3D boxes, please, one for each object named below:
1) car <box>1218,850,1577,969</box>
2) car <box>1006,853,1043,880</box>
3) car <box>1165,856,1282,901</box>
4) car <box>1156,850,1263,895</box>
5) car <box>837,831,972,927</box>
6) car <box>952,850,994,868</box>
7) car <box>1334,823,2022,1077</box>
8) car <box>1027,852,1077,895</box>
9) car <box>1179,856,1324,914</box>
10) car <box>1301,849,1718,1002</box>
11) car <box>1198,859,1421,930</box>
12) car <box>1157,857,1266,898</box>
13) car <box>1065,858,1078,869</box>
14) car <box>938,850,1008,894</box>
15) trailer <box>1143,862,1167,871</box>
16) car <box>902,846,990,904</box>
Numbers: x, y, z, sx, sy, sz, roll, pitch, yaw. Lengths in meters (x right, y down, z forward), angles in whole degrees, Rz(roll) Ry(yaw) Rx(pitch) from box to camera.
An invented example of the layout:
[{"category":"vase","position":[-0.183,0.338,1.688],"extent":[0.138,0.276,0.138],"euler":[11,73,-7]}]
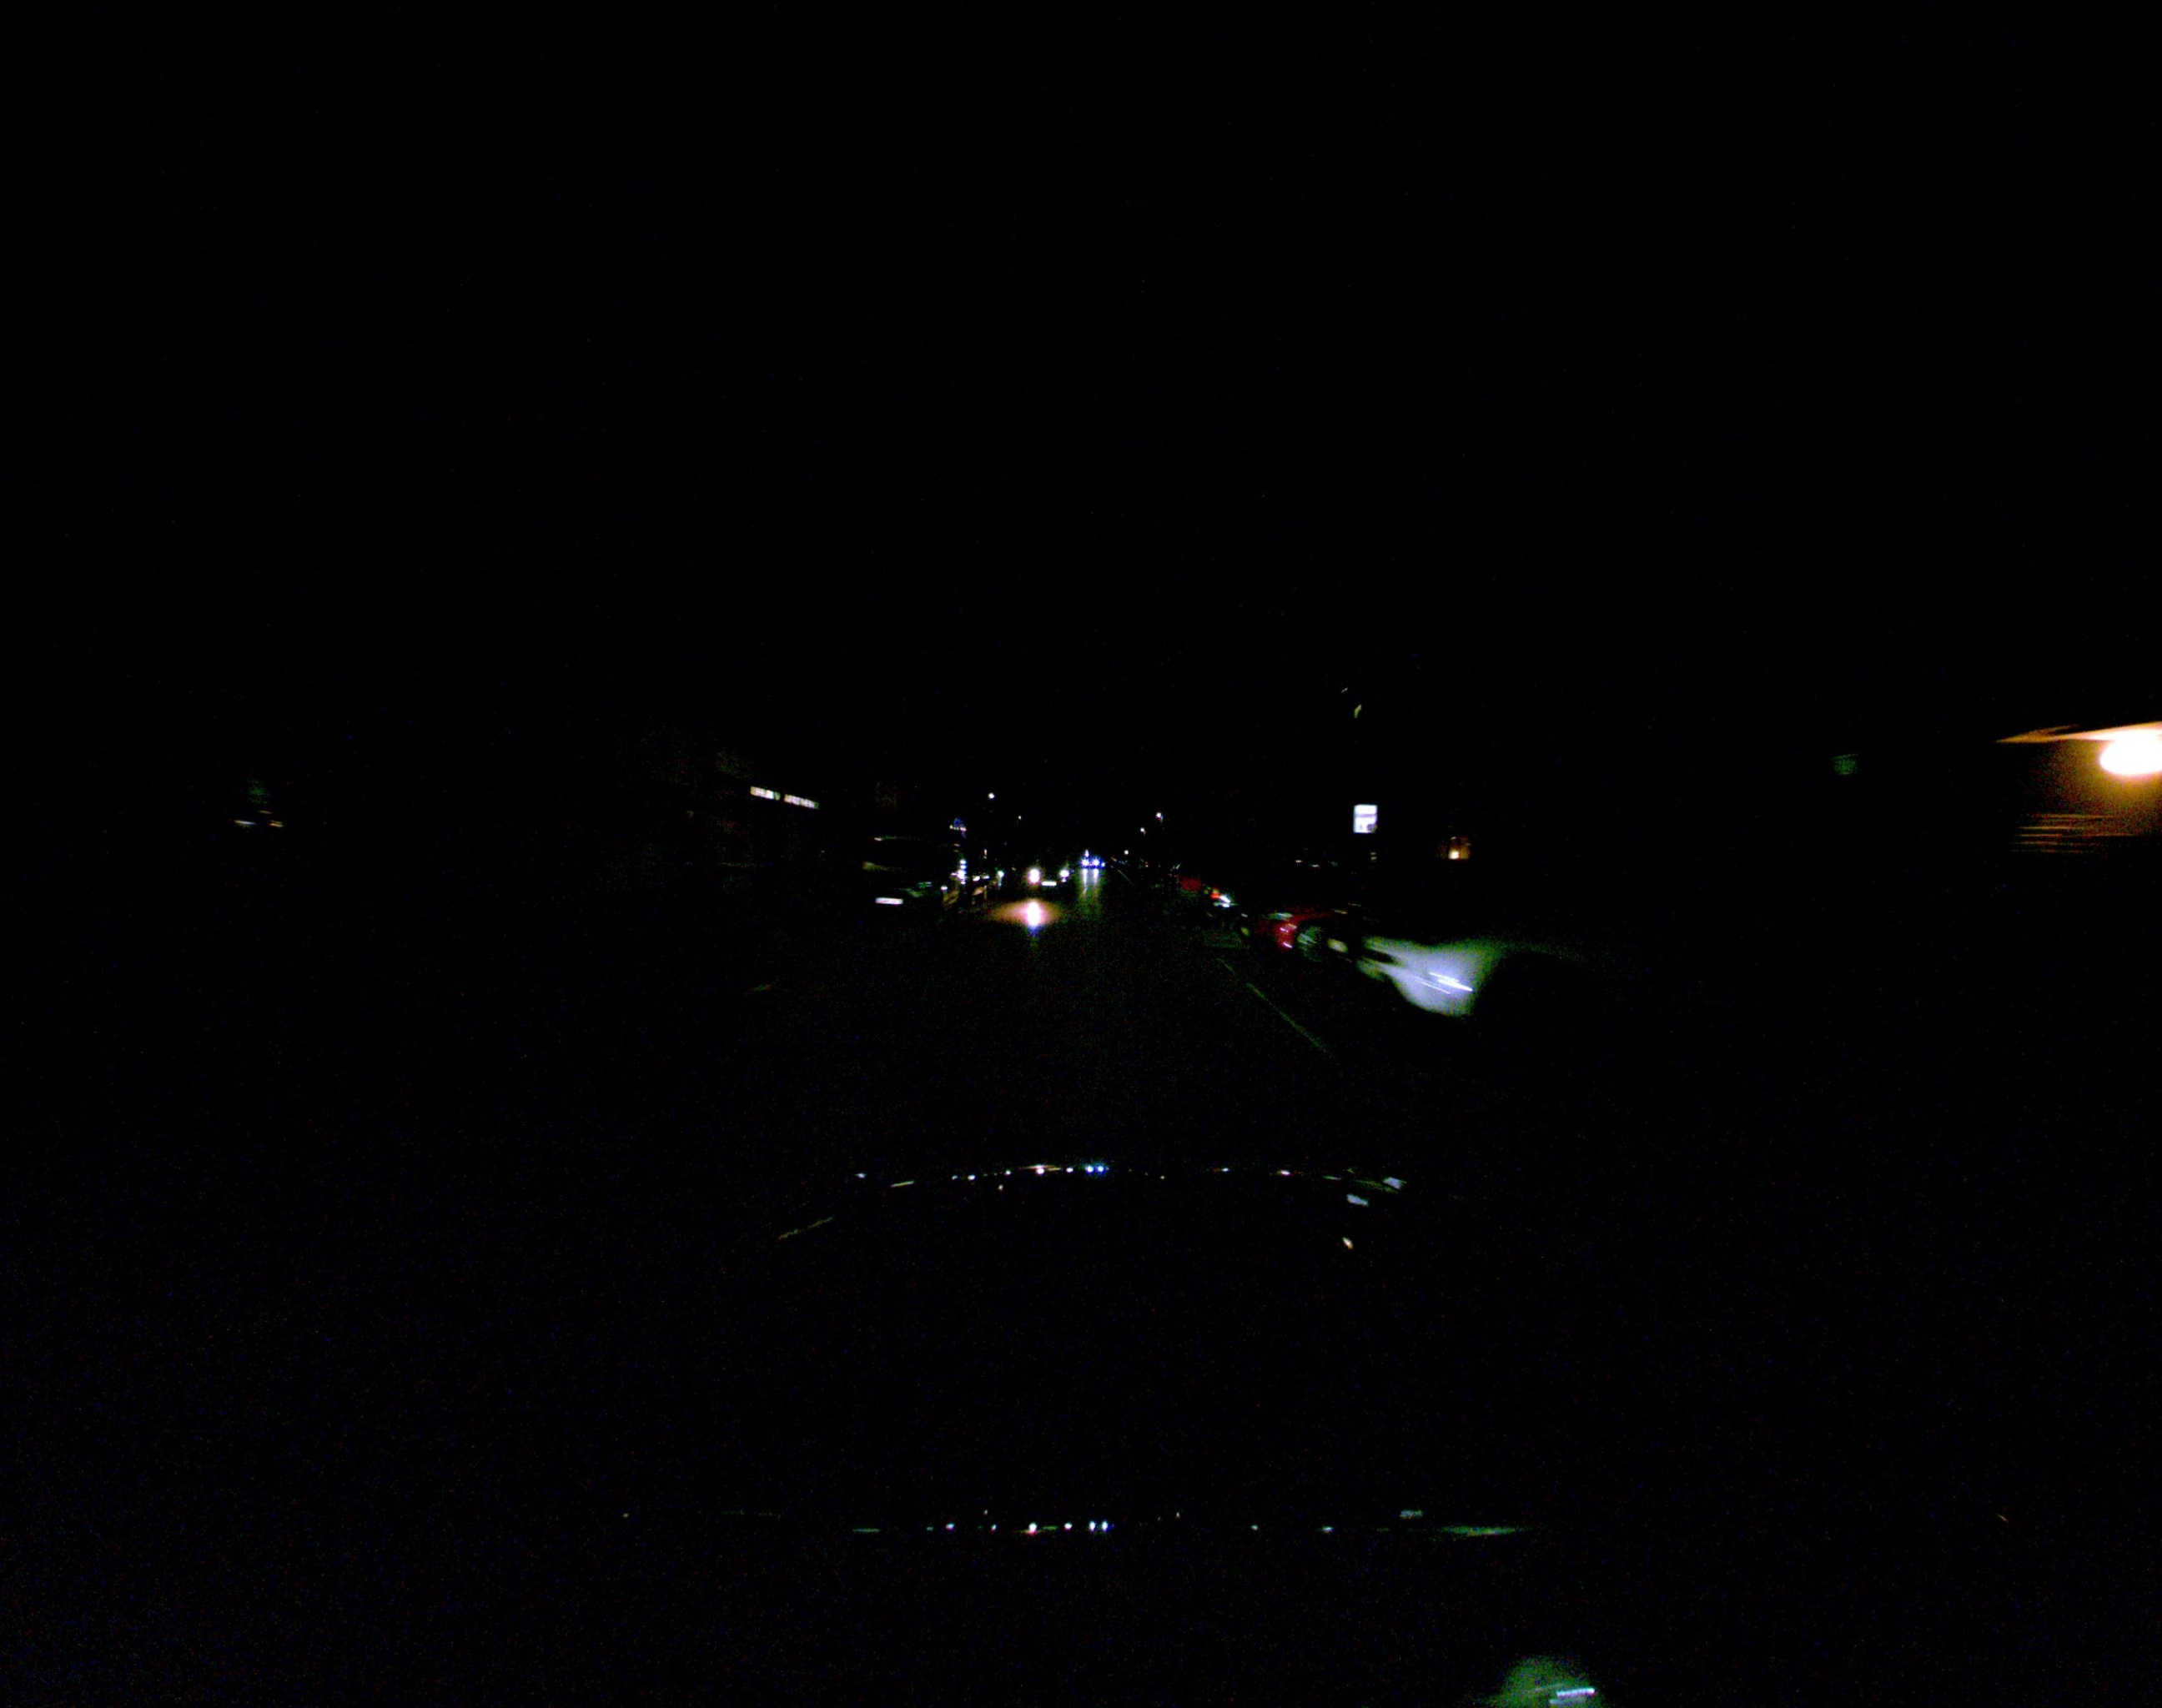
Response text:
[{"category":"car","position":[4.533,0.765,12.295],"extent":[4.636,1.557,2.108],"euler":[1,0,2]},{"category":"car","position":[-3.607,0.777,52.822],"extent":[1.922,1.636,4.471],"euler":[2,0,1]},{"category":"car","position":[5.025,0.860,29.059],"extent":[3.902,1.514,1.854],"euler":[0,-1,0]},{"category":"car","position":[5.366,0.766,34.350],"extent":[4.331,1.816,2.035],"euler":[0,0,7]},{"category":"car","position":[-4.109,0.539,19.906],"extent":[2.109,1.946,4.887],"euler":[3,0,0]},{"category":"car","position":[-10.622,0.503,80.199],"extent":[3.982,1.703,1.944],"euler":[-1,0,-6]},{"category":"car","position":[4.525,0.660,6.862],"extent":[4.254,1.698,2.003],"euler":[1,0,6]},{"category":"car","position":[-1.144,0.776,34.071],"extent":[1.712,1.715,3.964],"euler":[0,0,3]},{"category":"car","position":[4.797,0.855,23.431],"extent":[3.896,1.551,1.991],"euler":[0,0,5]},{"category":"car","position":[4.872,0.766,9.772],"extent":[3.971,1.557,2.001],"euler":[1,0,2]},{"category":"car","position":[4.846,0.842,17.772],"extent":[4.380,1.420,1.936],"euler":[0,0,3]},{"category":"car","position":[4.983,0.893,31.393],"extent":[3.905,1.514,1.853],"euler":[0,0,-2]},{"category":"car","position":[-1.472,1.468,128.624],"extent":[1.665,1.591,3.990],"euler":[2,-1,3]},{"category":"car","position":[-4.186,0.679,32.258],"extent":[2.109,1.548,4.476],"euler":[2,0,0]},{"category":"trailer","position":[10.933,1.817,120.578],"extent":[3.420,1.002,1.954],"euler":[4,-1,1]},{"category":"car","position":[-4.307,0.650,26.653],"extent":[2.109,1.670,4.168],"euler":[2,0,0]}]
